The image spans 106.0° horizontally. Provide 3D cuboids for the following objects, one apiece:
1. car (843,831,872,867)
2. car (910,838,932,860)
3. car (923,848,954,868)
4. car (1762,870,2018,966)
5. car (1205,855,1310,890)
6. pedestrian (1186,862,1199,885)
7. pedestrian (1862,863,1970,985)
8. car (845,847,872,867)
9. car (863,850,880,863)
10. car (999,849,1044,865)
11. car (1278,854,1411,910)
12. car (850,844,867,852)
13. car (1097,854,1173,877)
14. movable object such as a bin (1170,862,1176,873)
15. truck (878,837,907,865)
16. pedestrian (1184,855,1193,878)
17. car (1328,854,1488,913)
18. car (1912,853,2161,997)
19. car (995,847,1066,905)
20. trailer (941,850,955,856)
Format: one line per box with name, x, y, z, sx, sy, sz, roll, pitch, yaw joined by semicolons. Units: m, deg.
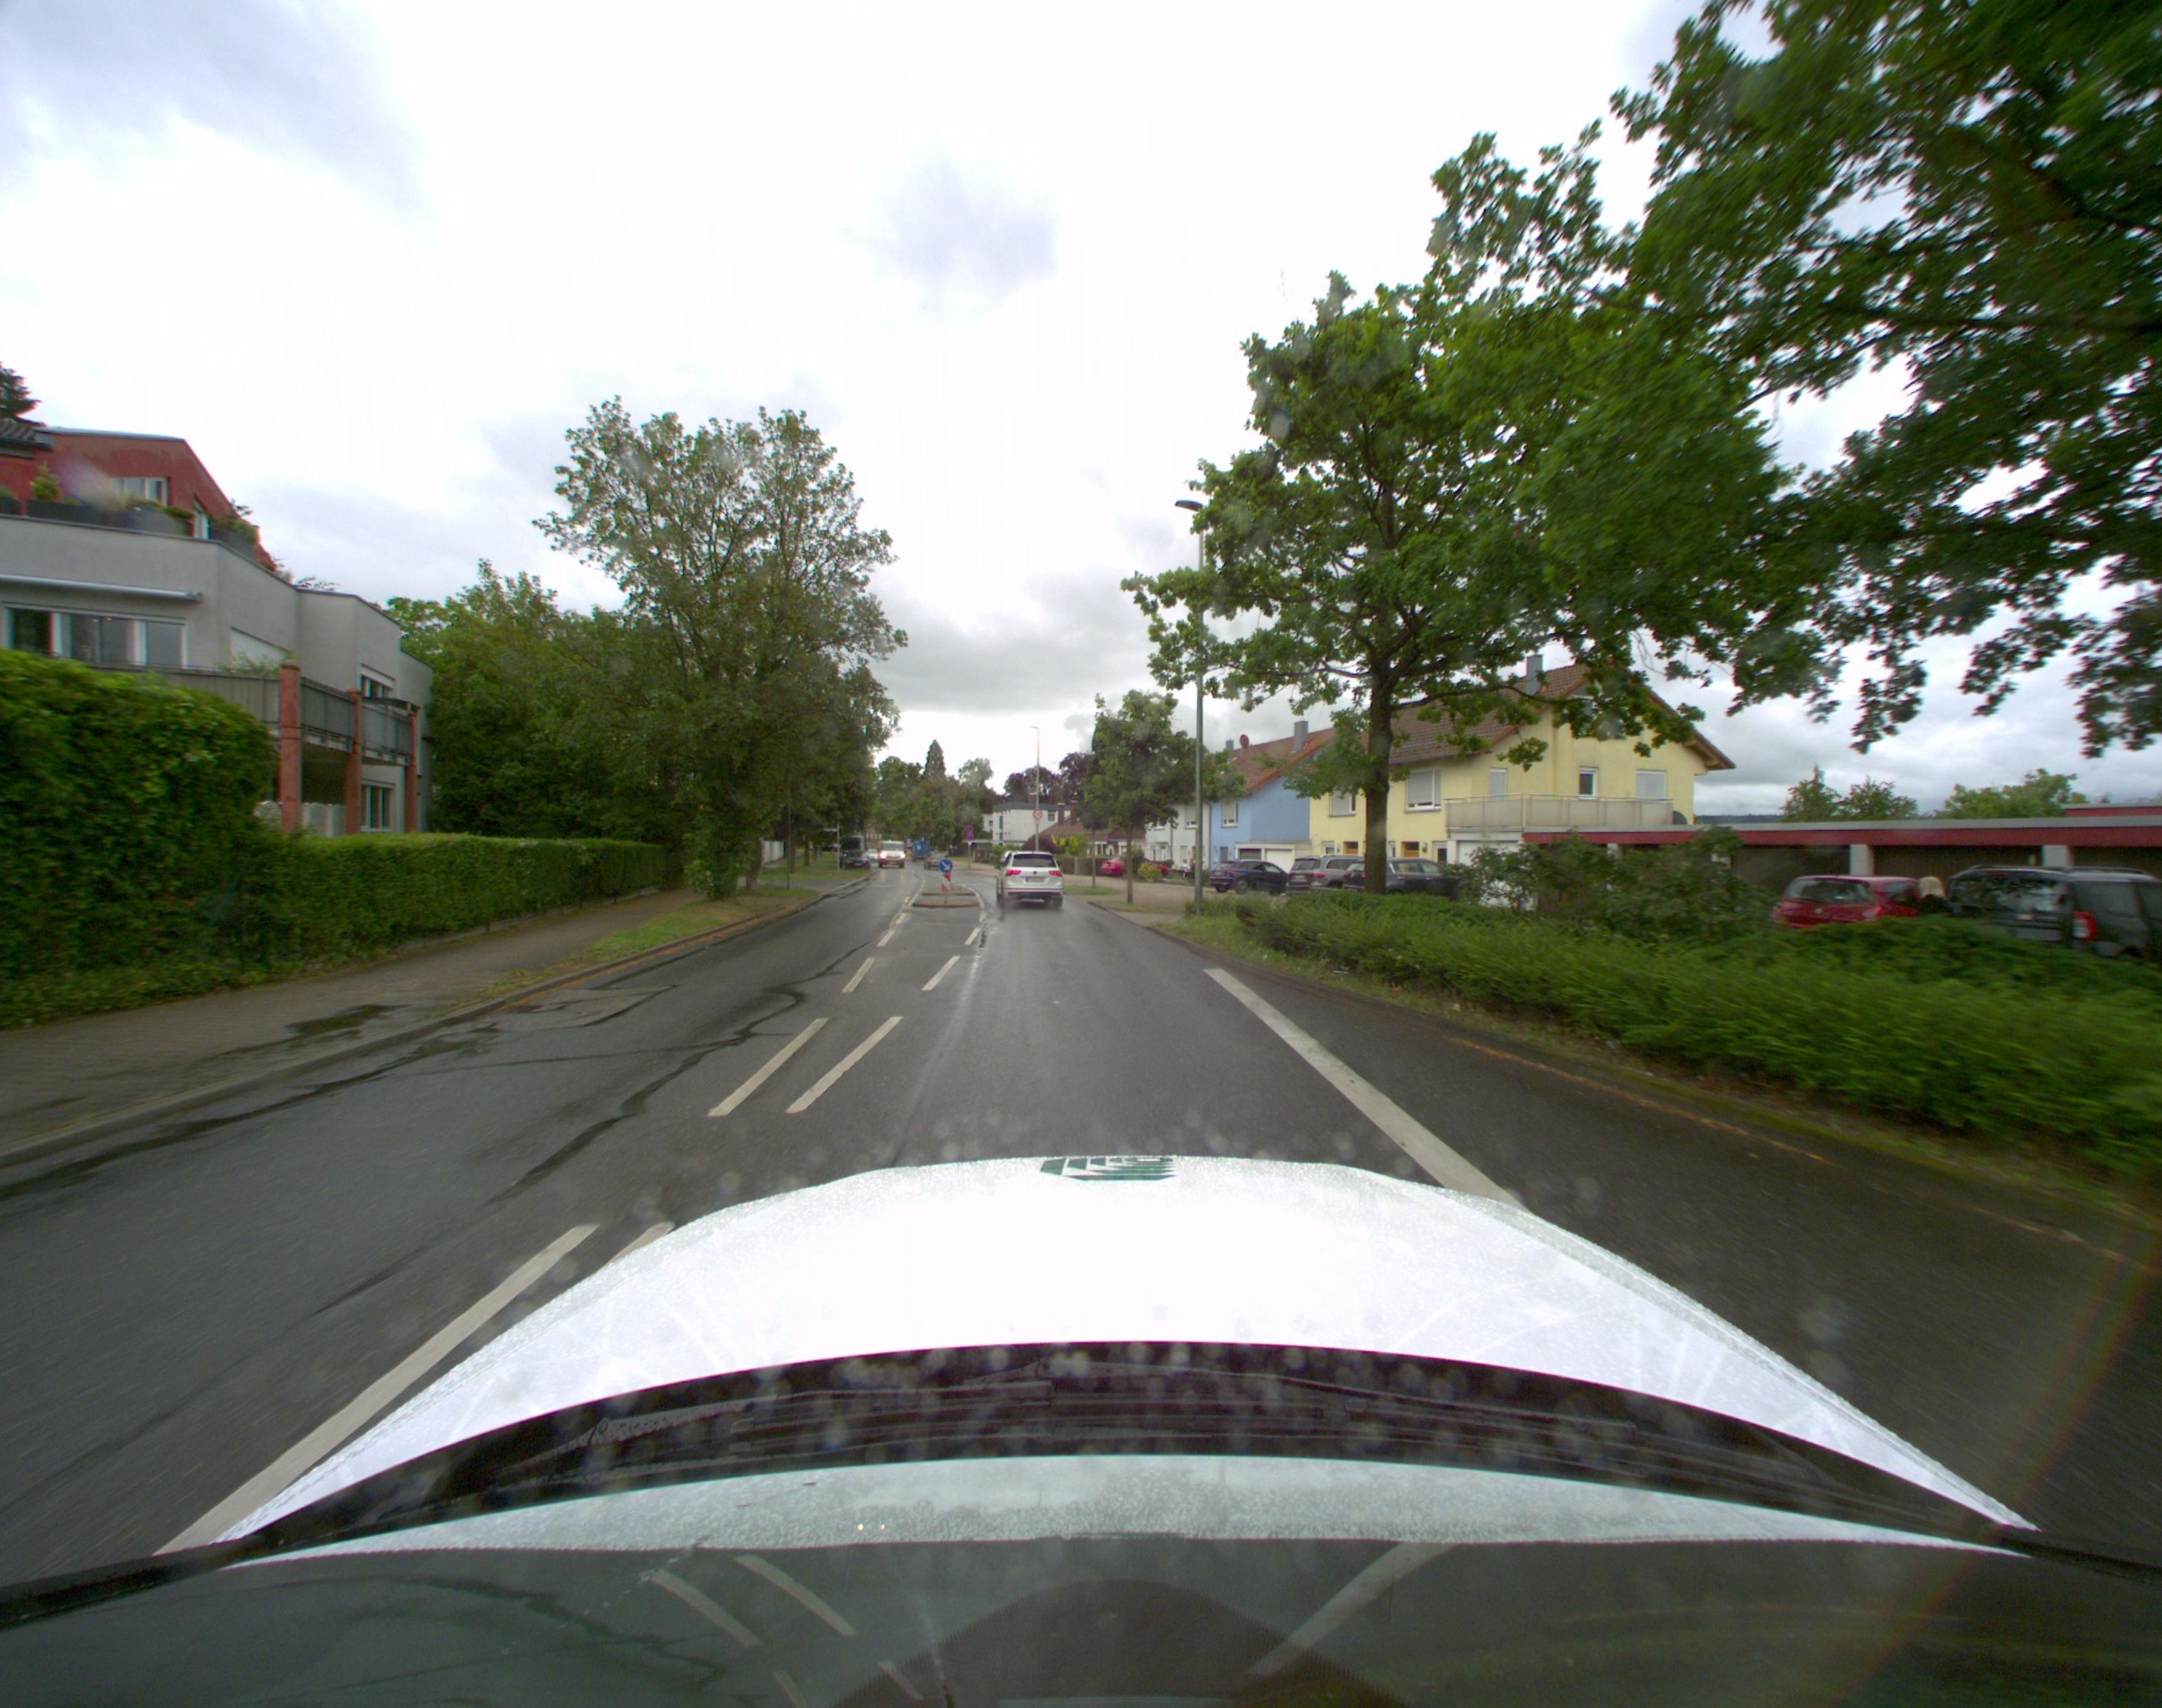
car;-17.955;-0.409;65.129;1.998;2.728;5.904;2;0;-17
car;-20.199;-0.640;102.541;1.999;2.586;5.600;-1;1;-18
car;-11.540;0.345;65.709;1.775;1.551;3.972;1;0;-21
car;13.897;1.025;14.024;3.703;1.442;1.696;1;0;-19
car;7.353;0.779;33.974;4.000;1.387;1.663;1;0;-20
pedestrian;6.660;1.156;48.573;0.539;1.351;0.524;1;0;-31
pedestrian;11.358;0.918;11.096;0.667;1.558;0.836;1;0;-23
car;-16.114;0.193;58.894;1.727;1.408;3.802;1;0;-18
car;-23.589;0.257;91.623;1.599;1.464;3.431;1;0;-19
car;-5.643;0.278;77.352;3.999;1.442;1.835;1;0;-19
car;8.924;0.949;27.580;4.199;1.671;1.708;3;-1;-25
car;-43.223;-1.224;158.129;1.656;1.427;3.954;2;1;-41
car;3.288;0.707;49.456;4.327;1.260;1.664;2;0;-28
movable object such as a bin;5.352;0.795;47.474;0.256;0.626;0.323;1;0;-17
truck;-15.998;-0.250;69.305;2.219;2.204;6.435;2;0;-13
pedestrian;6.511;0.768;49.135;0.493;1.351;0.565;1;0;5
car;9.854;0.857;24.600;4.189;1.671;1.980;1;0;-17
car;13.986;0.874;11.319;3.999;1.721;1.912;1;0;-19
car;-1.661;0.619;25.319;1.864;1.651;3.988;0;0;-9
trailer;-20.583;-0.155;126.234;2.045;0.883;1.358;2;0;-15
